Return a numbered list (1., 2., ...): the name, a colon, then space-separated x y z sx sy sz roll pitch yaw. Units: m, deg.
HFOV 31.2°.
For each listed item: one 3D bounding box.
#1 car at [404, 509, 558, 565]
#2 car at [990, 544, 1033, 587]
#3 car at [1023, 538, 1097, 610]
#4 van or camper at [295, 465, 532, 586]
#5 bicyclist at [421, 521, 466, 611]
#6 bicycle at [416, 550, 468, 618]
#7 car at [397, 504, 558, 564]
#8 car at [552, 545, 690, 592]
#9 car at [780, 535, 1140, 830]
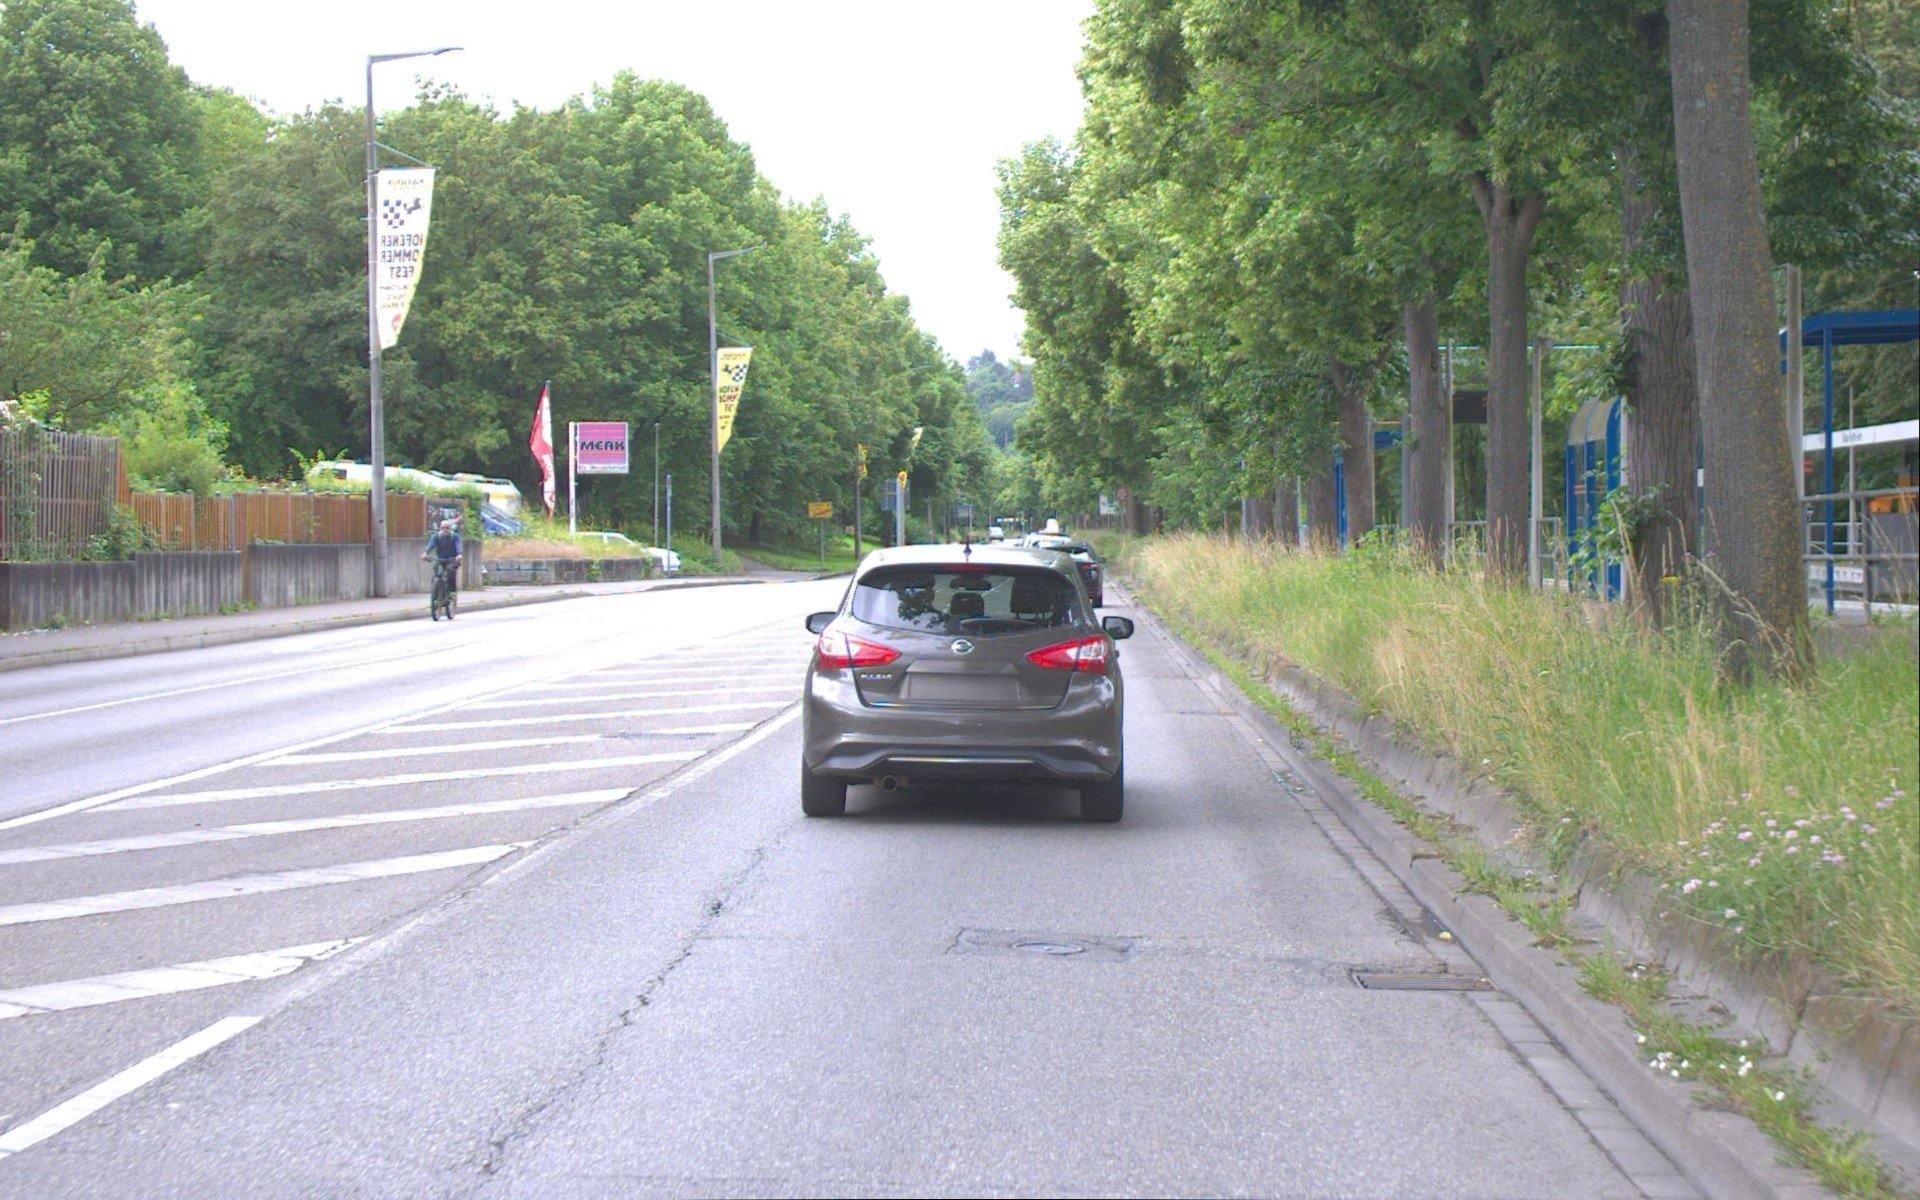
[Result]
1. car: -13.393 -1.757 96.187 3.988 1.406 1.533 2 0 7
2. car: 1.866 -1.244 123.986 1.503 1.476 3.671 1 0 1
3. car: 2.240 -0.582 76.422 1.503 1.523 3.671 1 0 4
4. van or camper: -18.162 -2.470 114.499 7.142 3.359 2.796 5 1 2
5. bicyclist: -9.015 -0.593 60.023 0.642 1.530 0.979 2 1 -3
6. bicycle: -9.049 -0.290 60.121 0.642 1.141 2.148 2 1 -3
7. car: -13.224 -1.800 94.308 3.988 1.492 1.859 2 0 7
8. car: -11.276 -1.049 114.439 4.374 1.436 1.961 2 1 0
9. car: 0.097 0.418 20.070 1.837 1.523 3.928 1 0 4
